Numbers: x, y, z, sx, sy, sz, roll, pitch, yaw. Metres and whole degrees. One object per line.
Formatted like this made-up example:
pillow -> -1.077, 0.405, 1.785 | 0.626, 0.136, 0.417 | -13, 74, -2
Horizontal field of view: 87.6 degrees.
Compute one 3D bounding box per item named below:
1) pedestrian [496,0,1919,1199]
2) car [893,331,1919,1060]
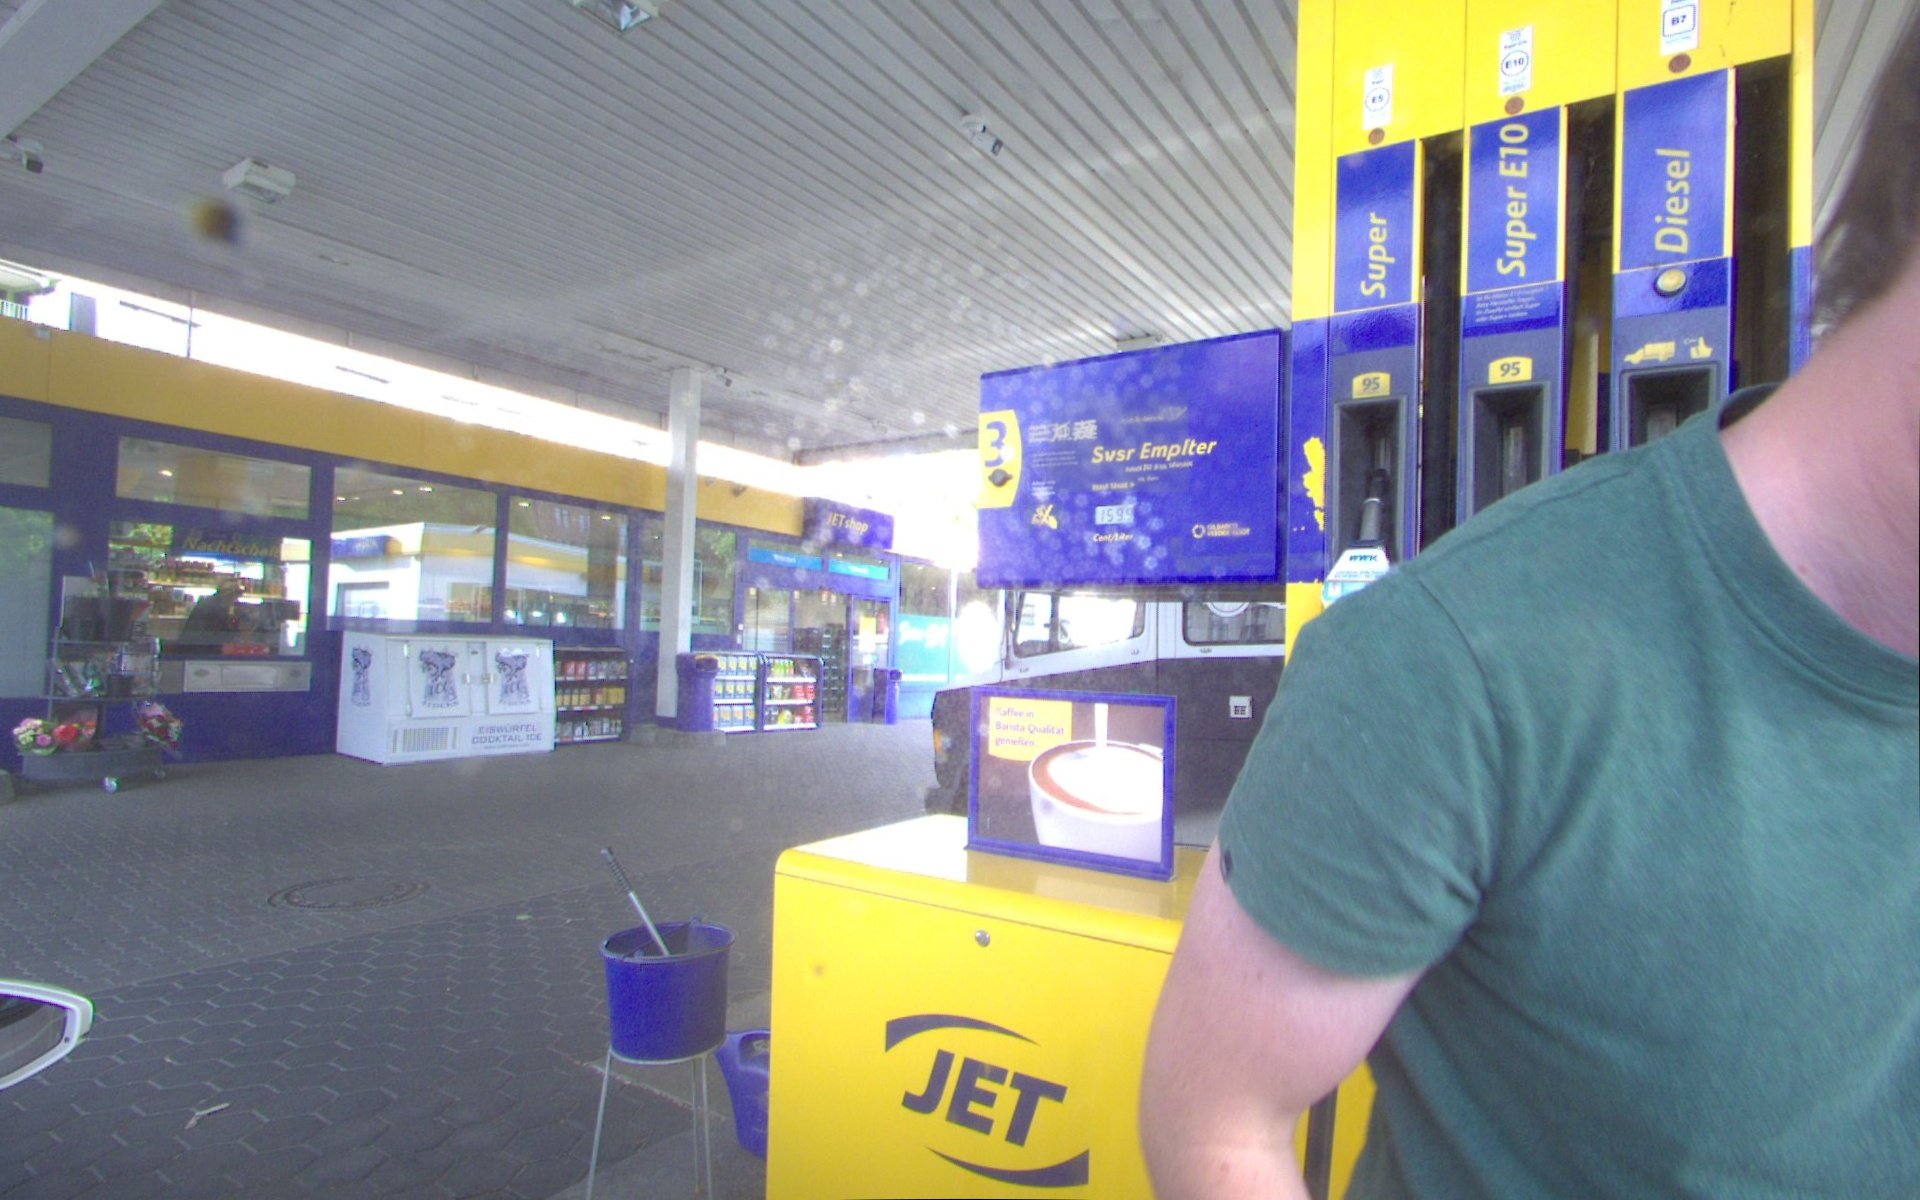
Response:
pedestrian -> 0.541, 0.562, 0.536 | 1.167, 1.750, 0.988 | -2, -2, 35
car -> 2.358, 0.437, 5.999 | 5.271, 2.759, 2.193 | -1, -3, 34
